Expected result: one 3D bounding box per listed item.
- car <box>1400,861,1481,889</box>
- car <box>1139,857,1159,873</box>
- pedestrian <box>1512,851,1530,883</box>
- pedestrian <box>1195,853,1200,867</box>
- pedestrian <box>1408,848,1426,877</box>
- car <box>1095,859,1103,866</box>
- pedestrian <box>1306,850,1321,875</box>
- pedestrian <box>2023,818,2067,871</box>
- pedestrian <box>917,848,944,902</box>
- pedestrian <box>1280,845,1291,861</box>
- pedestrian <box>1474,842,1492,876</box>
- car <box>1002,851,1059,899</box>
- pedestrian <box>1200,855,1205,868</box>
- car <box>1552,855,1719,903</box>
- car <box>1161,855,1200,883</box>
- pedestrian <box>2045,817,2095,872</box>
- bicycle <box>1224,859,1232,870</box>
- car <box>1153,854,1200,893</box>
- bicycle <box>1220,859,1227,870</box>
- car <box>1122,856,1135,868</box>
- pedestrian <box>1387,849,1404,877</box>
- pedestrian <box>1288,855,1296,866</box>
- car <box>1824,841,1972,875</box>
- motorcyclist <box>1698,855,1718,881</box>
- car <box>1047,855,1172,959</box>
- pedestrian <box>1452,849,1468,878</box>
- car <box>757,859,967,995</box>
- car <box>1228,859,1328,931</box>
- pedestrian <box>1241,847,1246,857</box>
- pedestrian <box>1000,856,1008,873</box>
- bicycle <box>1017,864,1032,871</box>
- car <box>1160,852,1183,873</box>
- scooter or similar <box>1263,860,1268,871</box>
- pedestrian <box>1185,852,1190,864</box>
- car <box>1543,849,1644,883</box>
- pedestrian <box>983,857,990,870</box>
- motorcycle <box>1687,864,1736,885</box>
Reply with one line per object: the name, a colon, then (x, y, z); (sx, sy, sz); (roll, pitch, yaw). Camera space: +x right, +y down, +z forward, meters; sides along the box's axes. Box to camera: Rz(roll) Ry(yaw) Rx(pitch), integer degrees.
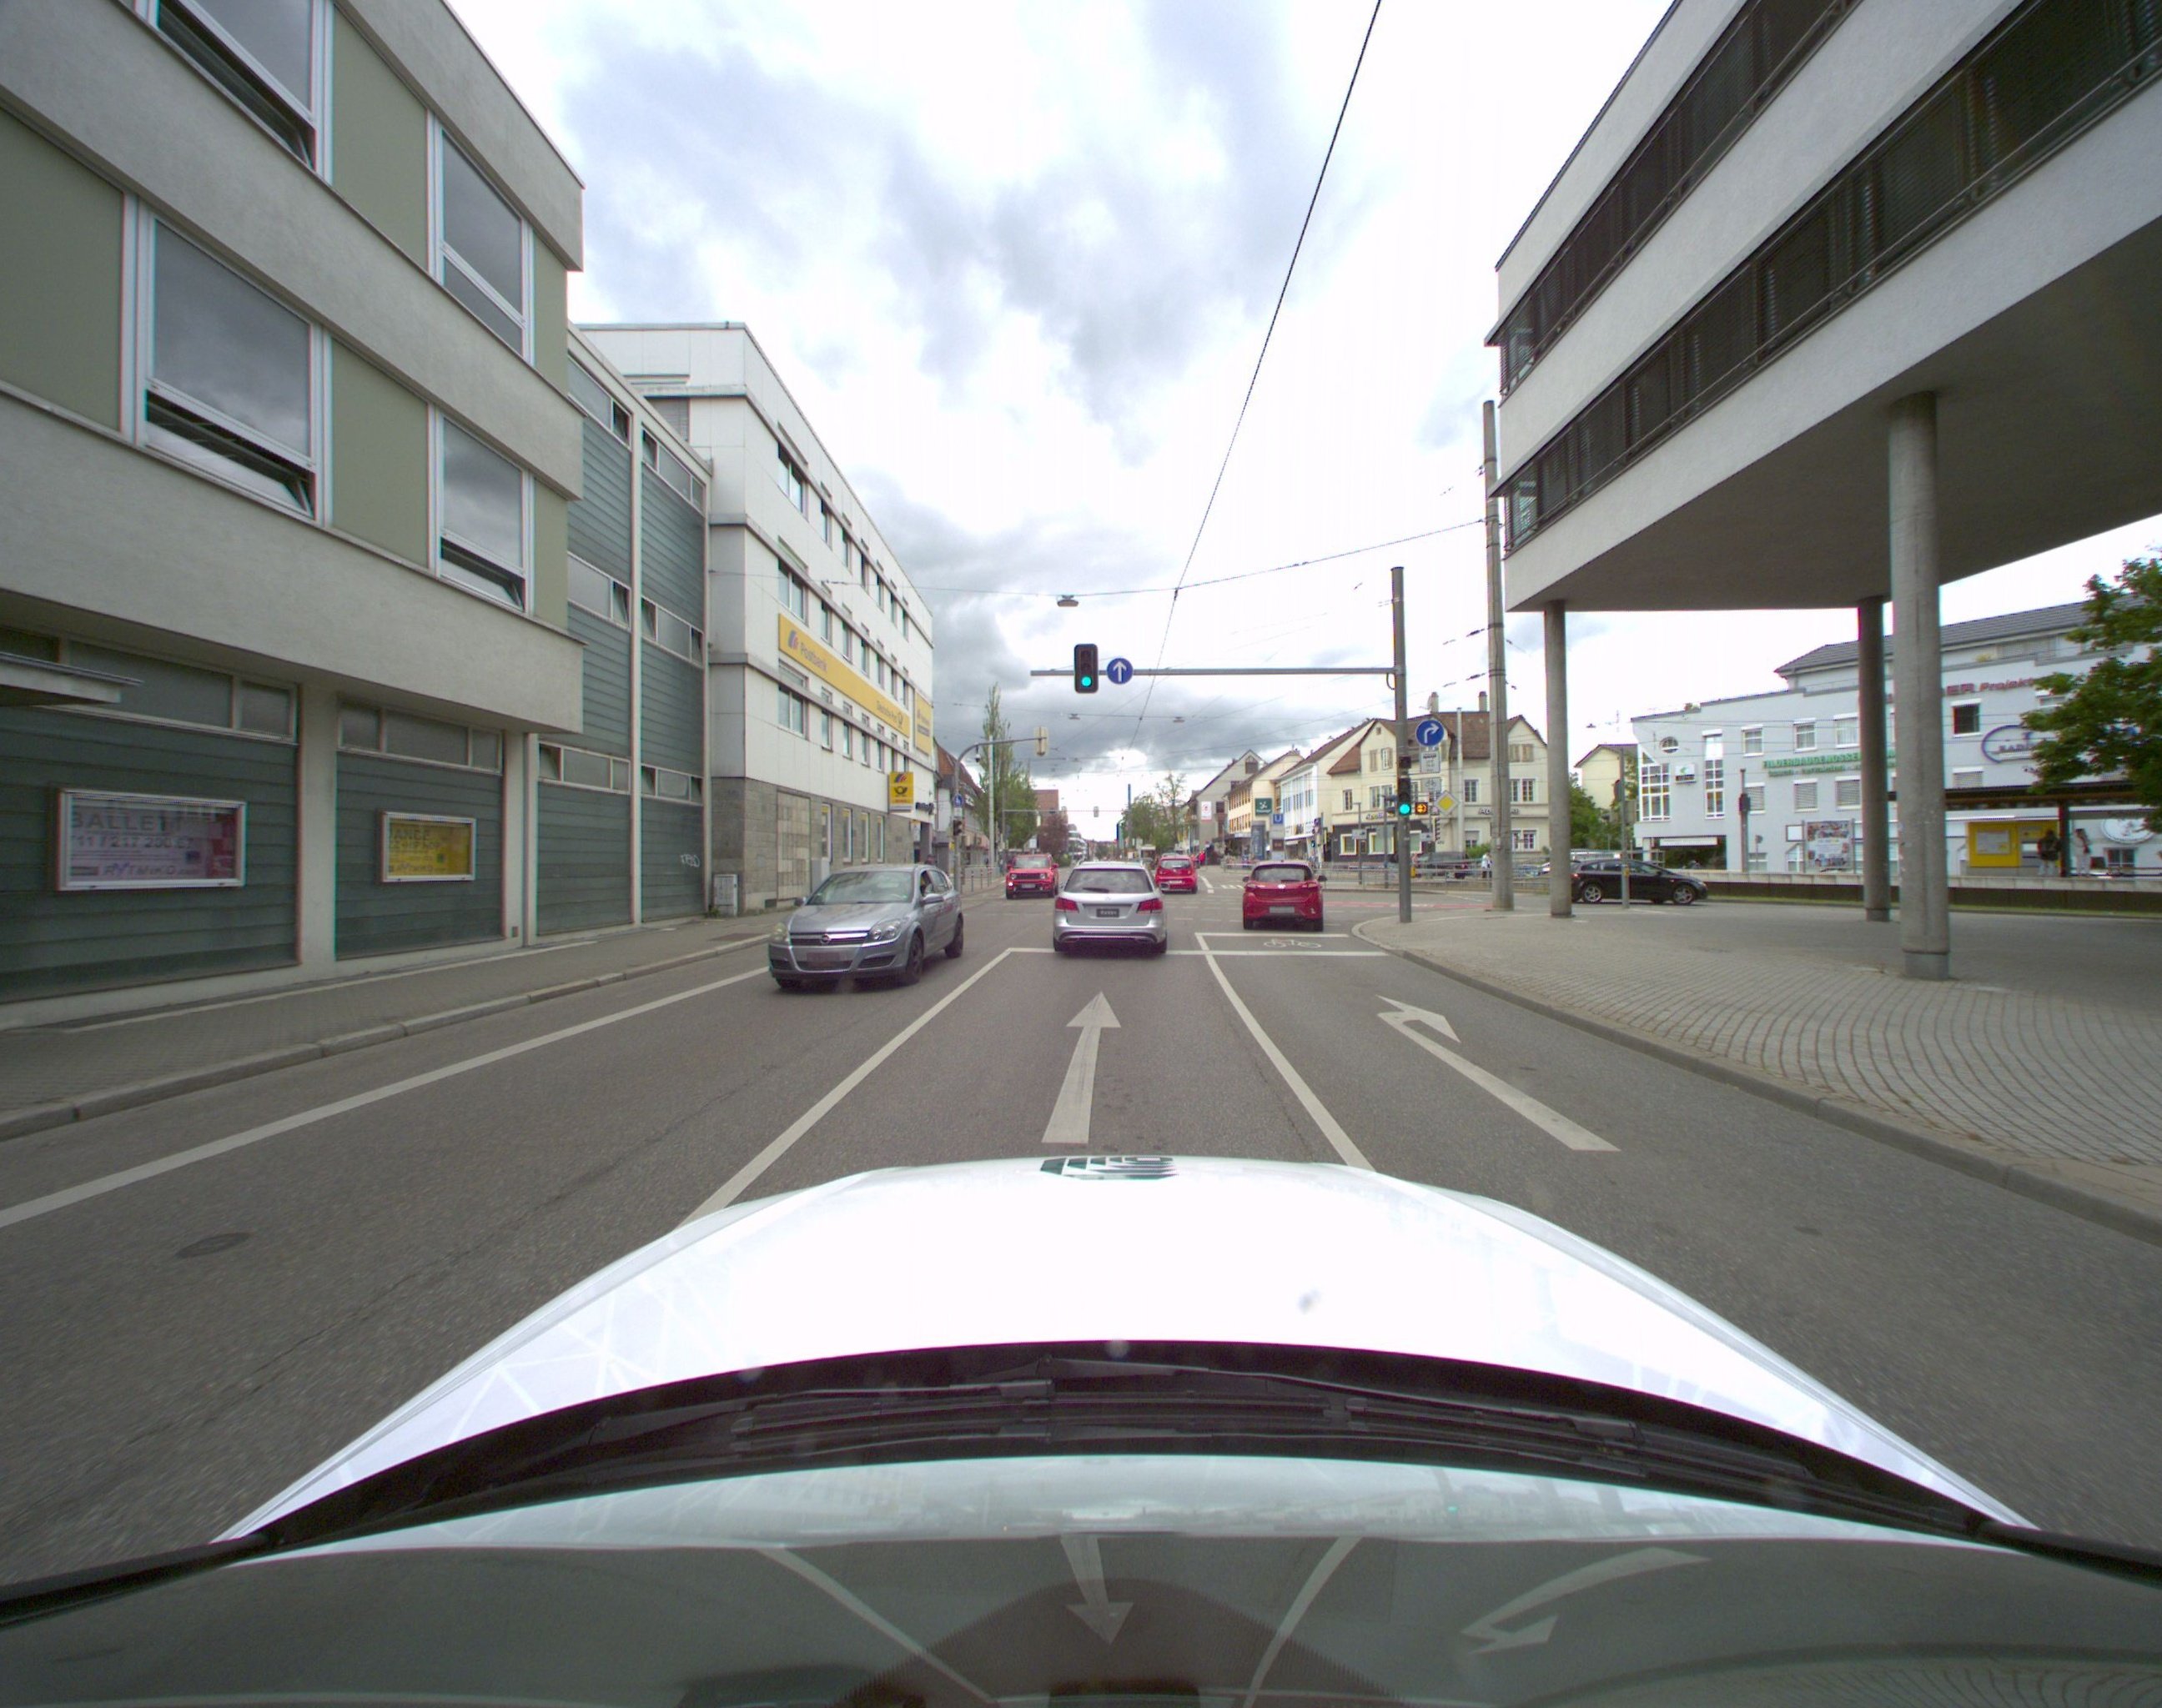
car: (24.150, 1.391, 54.865); (1.875, 1.821, 4.638); (2, -2, -45)
car: (7.532, 1.174, 90.389); (1.987, 1.750, 4.000); (0, 0, 1)
pedestrian: (24.161, 0.700, 44.686); (0.793, 1.718, 0.642); (1, 0, -42)
pedestrian: (14.078, 0.685, 98.470); (0.576, 1.666, 0.650); (0, -1, -4)
pedestrian: (20.244, 0.531, 49.115); (0.791, 1.718, 0.644); (1, 0, -27)
car: (5.233, 2.391, 238.116); (1.987, 2.014, 3.999); (0, 0, 0)
pedestrian: (16.728, 0.611, 58.575); (0.839, 1.718, 0.726); (-1, -1, -2)
pedestrian: (31.382, -0.309, 26.523); (0.779, 1.718, 0.694); (1, 0, 37)
pedestrian: (-4.950, 0.680, 26.803); (0.644, 1.718, 0.784); (0, 0, 8)
pedestrian: (20.461, -0.074, 81.424); (0.642, 1.591, 0.892); (1, -1, -19)
pedestrian: (20.042, 0.247, 40.608); (0.641, 1.718, 0.709); (-2, -1, 42)
car: (-1.891, 0.766, 31.618); (1.793, 1.694, 3.899); (-2, 0, 1)
pedestrian: (14.196, 0.854, 95.101); (0.576, 1.469, 0.650); (0, -1, -1)
car: (17.274, 0.766, 25.543); (3.960, 1.410, 1.746); (-1, 0, 12)
car: (5.754, 0.833, 47.461); (1.729, 1.508, 3.998); (-1, 0, -1)
pedestrian: (32.673, -0.316, 26.918); (0.683, 1.774, 0.792); (1, 0, 11)
bicycle: (15.211, 1.045, 84.379); (0.446, 1.107, 2.150); (-1, 0, 2)
car: (3.952, 0.759, 33.184); (1.724, 1.508, 4.010); (0, 0, 9)
bicycle: (14.764, 1.060, 84.384); (0.446, 1.091, 2.150); (-1, 0, 2)
car: (8.027, 1.409, 138.420); (1.987, 2.014, 3.998); (0, 0, -1)
pedestrian: (19.421, 0.537, 50.293); (0.703, 1.718, 0.647); (-1, -1, -12)
pedestrian: (22.085, 0.681, 85.259); (0.734, 1.164, 0.642); (0, -1, -2)
car: (38.457, 0.208, 38.451); (1.999, 1.471, 4.729); (2, -2, -38)
motorcyclist: (33.780, 0.748, 43.853); (0.767, 1.394, 0.685); (2, -2, -38)
car: (0.501, 0.795, 14.223); (1.839, 1.508, 4.173); (1, 0, 2)
pedestrian: (22.825, 0.542, 48.989); (0.779, 1.718, 0.654); (1, 0, 32)
car: (-2.730, 0.827, 11.079); (1.651, 1.466, 3.921); (-2, 0, 2)
car: (4.390, 0.851, 18.706); (1.690, 1.452, 4.006); (1, 0, 6)
pedestrian: (19.965, -0.299, 99.905); (0.531, 1.218, 0.579); (0, -1, -1)
pedestrian: (-7.119, 0.980, 75.390); (0.634, 1.606, 0.702); (-1, -1, -12)
bicycle: (-7.310, 1.756, 105.975); (1.937, 1.029, 0.529); (0, -1, -9)
car: (7.854, 0.716, 70.834); (1.727, 1.759, 4.002); (-1, 0, 2)
scooter or similar: (17.478, 1.110, 77.132); (0.271, 1.001, 1.028); (-1, -1, -2)
pedestrian: (13.610, 0.529, 104.018); (0.577, 1.435, 0.650); (0, -1, -4)
car: (30.420, 0.724, 48.478); (1.999, 1.919, 4.729); (2, -2, -38)
pedestrian: (-11.449, 1.121, 98.295); (0.704, 1.606, 0.576); (-1, -1, -20)
motorcycle: (33.859, 1.087, 43.740); (0.767, 1.073, 1.958); (2, -2, -38)
